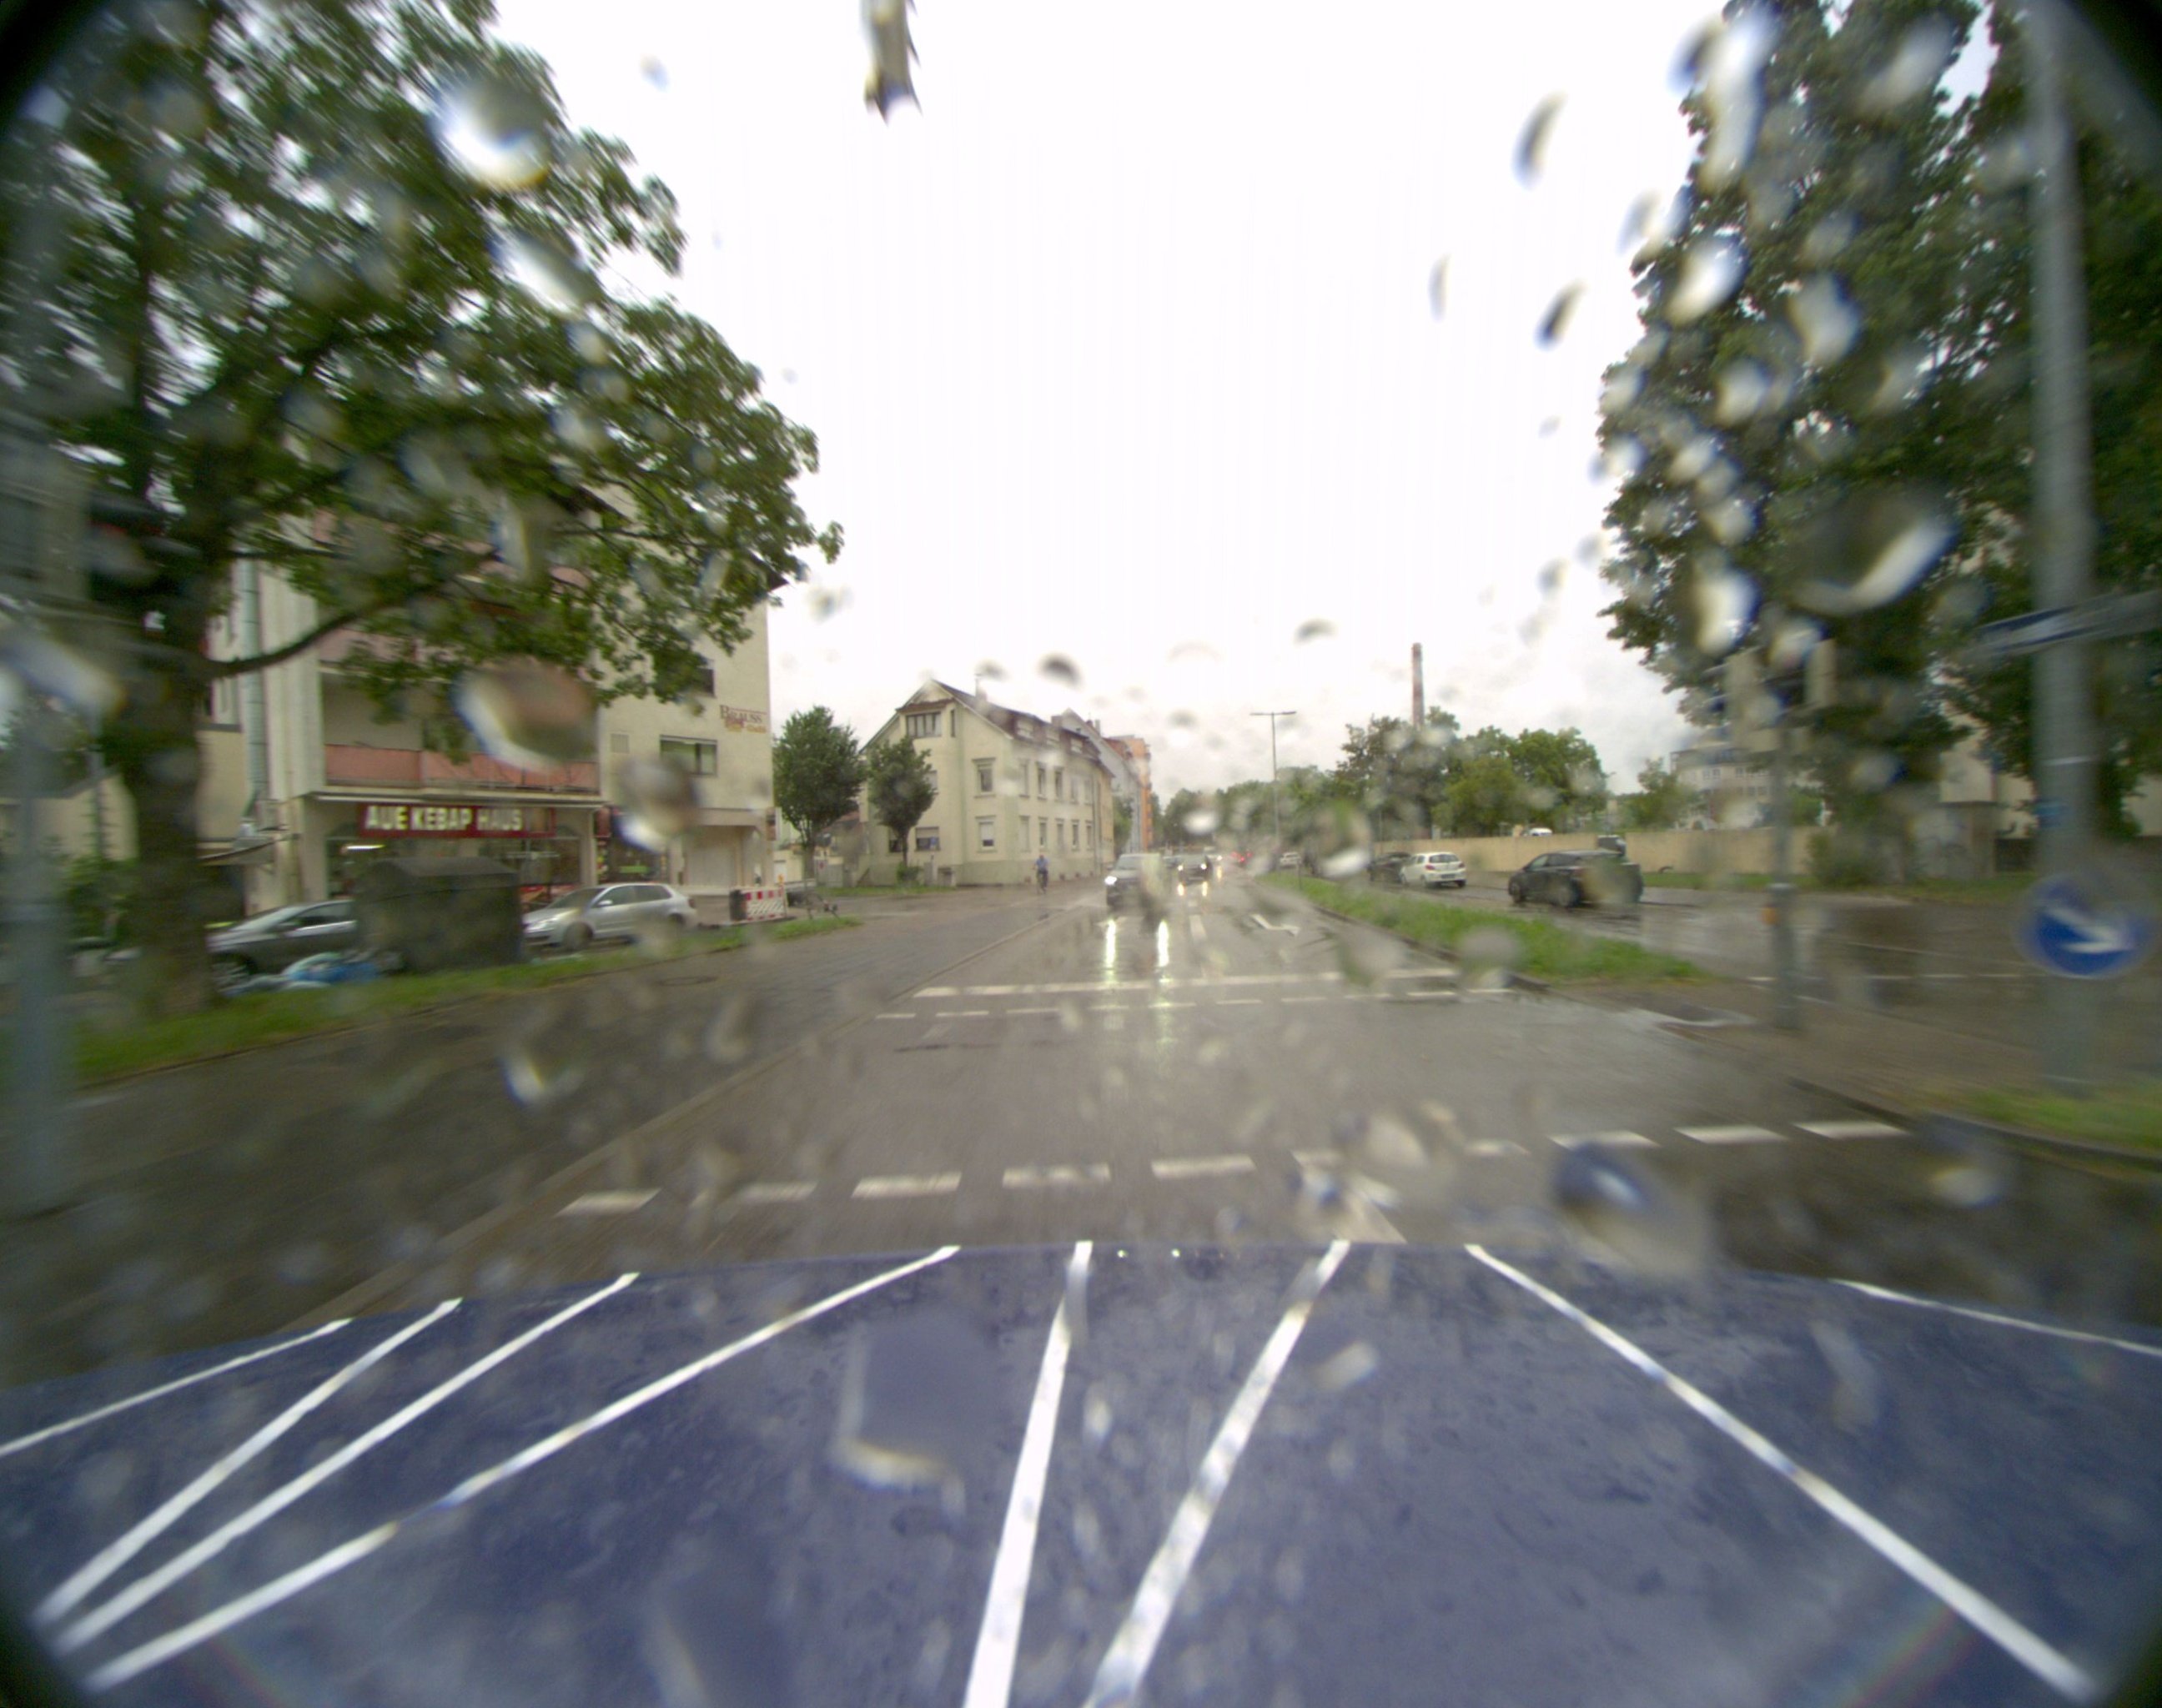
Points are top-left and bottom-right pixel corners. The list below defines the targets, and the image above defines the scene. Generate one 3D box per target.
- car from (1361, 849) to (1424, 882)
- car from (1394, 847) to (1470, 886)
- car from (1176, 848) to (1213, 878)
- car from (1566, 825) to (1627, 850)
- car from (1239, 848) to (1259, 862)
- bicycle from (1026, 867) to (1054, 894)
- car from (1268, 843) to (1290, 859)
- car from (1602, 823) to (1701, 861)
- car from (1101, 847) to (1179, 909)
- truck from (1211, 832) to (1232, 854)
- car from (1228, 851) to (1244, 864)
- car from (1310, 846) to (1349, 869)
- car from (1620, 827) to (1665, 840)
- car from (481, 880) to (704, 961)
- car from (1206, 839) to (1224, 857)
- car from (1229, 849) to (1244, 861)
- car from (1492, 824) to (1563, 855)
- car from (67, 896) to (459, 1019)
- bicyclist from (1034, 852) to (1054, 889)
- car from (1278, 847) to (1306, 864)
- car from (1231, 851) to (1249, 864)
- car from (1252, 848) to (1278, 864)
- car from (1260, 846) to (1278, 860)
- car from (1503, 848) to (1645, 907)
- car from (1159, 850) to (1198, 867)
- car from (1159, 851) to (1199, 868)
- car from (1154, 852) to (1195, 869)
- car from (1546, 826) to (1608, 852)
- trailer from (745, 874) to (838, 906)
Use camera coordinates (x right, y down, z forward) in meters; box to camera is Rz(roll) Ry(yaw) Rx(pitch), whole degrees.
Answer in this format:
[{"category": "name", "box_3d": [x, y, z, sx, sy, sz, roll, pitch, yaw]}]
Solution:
[{"category": "car", "box_3d": [15.444, 0.533, 37.922, 1.730, 1.375, 4.181, -4, 0, 6]}, {"category": "car", "box_3d": [14.858, 0.501, 32.392, 1.605, 1.465, 4.123, -3, 1, 5]}, {"category": "car", "box_3d": [6.832, 0.488, 45.380, 1.830, 1.619, 4.003, -2, 1, 12]}, {"category": "car", "box_3d": [45.254, -1.412, 66.760, 2.002, 2.002, 3.993, -3, 1, -21]}, {"category": "car", "box_3d": [18.589, 0.061, 84.169, 1.709, 1.492, 3.947, 0, 1, 7]}, {"category": "bicycle", "box_3d": [-1.735, 1.111, 32.545, 0.674, 1.054, 1.974, -2, 0, 12]}, {"category": "car", "box_3d": [21.022, -0.376, 80.910, 1.627, 1.589, 3.799, -3, 1, 5]}, {"category": "car", "box_3d": [32.355, -0.654, 43.233, 2.003, 1.980, 3.991, -3, 1, -29]}, {"category": "car", "box_3d": [1.970, 0.676, 24.166, 1.959, 1.702, 4.177, -2, 1, 11]}, {"category": "truck", "box_3d": [29.831, -2.342, 161.966, 3.830, 4.360, 10.791, -2, 1, 8]}, {"category": "car", "box_3d": [22.478, 0.517, 110.309, 2.069, 1.732, 4.176, -3, 1, 8]}, {"category": "car", "box_3d": [17.084, 0.233, 52.411, 1.699, 1.437, 4.099, -3, 1, 7]}, {"category": "car", "box_3d": [69.509, -2.544, 94.161, 2.002, 1.434, 3.992, -3, 1, -23]}, {"category": "car", "box_3d": [-11.255, 1.475, 17.879, 1.636, 1.425, 4.182, -2, 1, 21]}, {"category": "car", "box_3d": [17.704, -0.780, 100.650, 2.192, 2.242, 4.887, -3, 1, 8]}, {"category": "car", "box_3d": [23.978, 0.173, 117.379, 2.069, 1.663, 4.176, -3, 1, 8]}, {"category": "car", "box_3d": [37.535, -1.193, 64.011, 2.152, 2.383, 4.712, -3, 1, -22]}, {"category": "car", "box_3d": [-13.550, 1.603, 12.988, 1.699, 1.425, 4.162, -2, 1, 21]}, {"category": "bicyclist", "box_3d": [-1.598, 0.702, 32.733, 0.639, 1.573, 0.716, -2, 0, 12]}, {"category": "car", "box_3d": [20.117, 0.107, 72.613, 1.778, 1.451, 4.682, -3, 1, 7]}, {"category": "car", "box_3d": [21.777, 0.460, 104.216, 2.069, 1.732, 4.177, -2, 1, 9]}, {"category": "car", "box_3d": [16.547, 0.175, 68.481, 1.730, 1.385, 3.952, 1, 1, 6]}, {"category": "car", "box_3d": [21.269, -0.114, 86.142, 1.693, 1.445, 3.720, -2, 1, 9]}, {"category": "car", "box_3d": [13.591, 0.582, 21.258, 1.547, 1.389, 4.195, -3, 1, 6]}, {"category": "car", "box_3d": [10.352, 0.482, 80.565, 3.921, 1.605, 1.693, -3, 1, 9]}, {"category": "car", "box_3d": [10.121, 0.574, 78.119, 3.921, 1.472, 1.858, -3, 1, 9]}, {"category": "car", "box_3d": [8.730, 0.638, 70.853, 3.758, 1.446, 1.802, -3, -1, 8]}, {"category": "car", "box_3d": [42.442, -1.258, 65.094, 2.002, 2.002, 3.992, -3, 1, -23]}, {"category": "trailer", "box_3d": [-12.744, 1.570, 33.365, 4.521, 1.224, 1.828, -2, 1, 41]}]
